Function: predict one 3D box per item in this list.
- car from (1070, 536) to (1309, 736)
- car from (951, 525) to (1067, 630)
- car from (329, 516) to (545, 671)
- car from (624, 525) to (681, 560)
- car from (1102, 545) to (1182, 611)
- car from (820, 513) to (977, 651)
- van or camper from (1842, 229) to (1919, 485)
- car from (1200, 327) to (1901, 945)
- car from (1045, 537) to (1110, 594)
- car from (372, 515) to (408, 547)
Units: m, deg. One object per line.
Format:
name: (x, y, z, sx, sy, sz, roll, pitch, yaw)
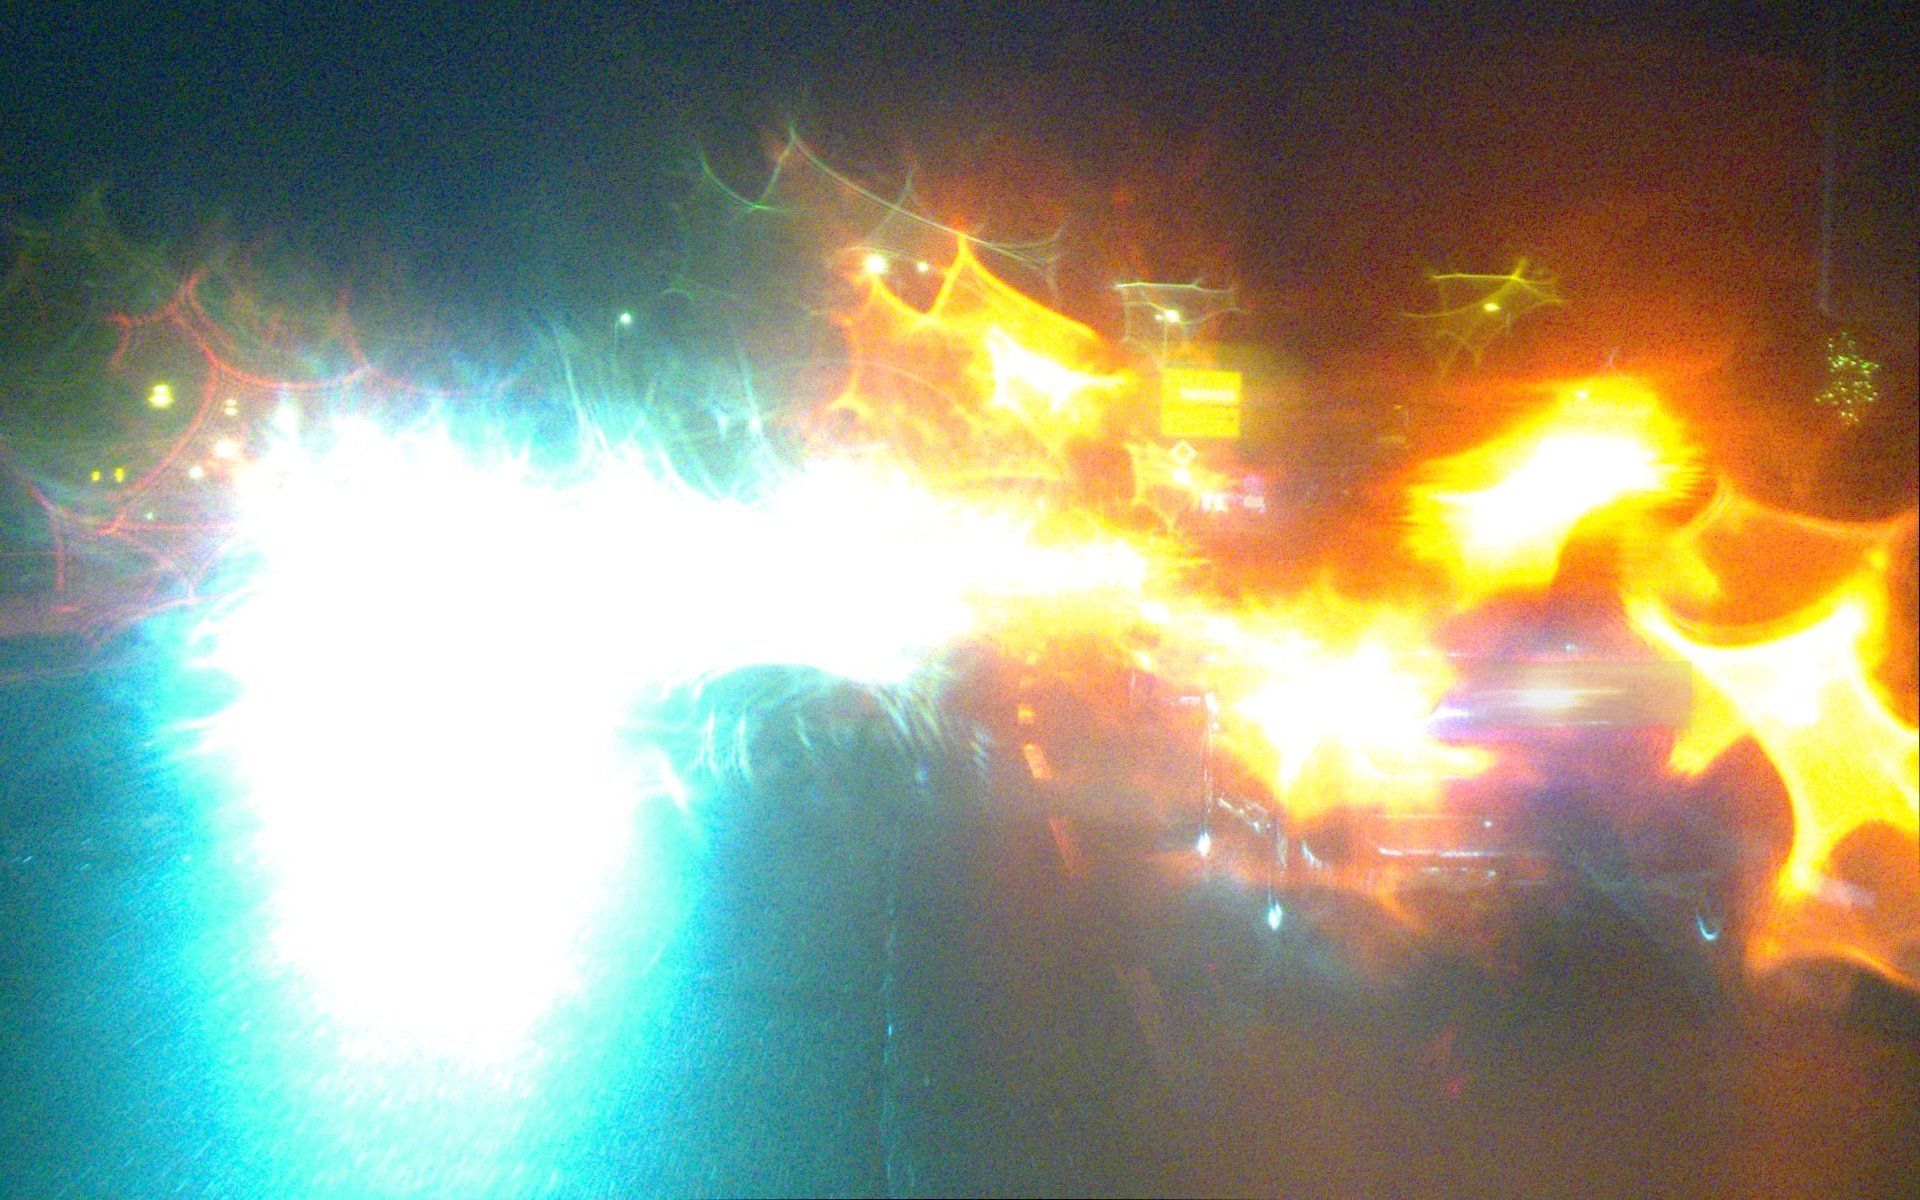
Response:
car: (1.825, 0.233, 27.867, 1.768, 1.445, 4.218, 1, 1, 3)
car: (0.831, -0.393, 56.105, 1.709, 1.632, 3.730, -1, 1, 3)
car: (-5.236, -0.115, 34.871, 1.694, 1.429, 4.294, 1, 2, -2)
car: (-13.774, -2.581, 153.851, 1.708, 1.493, 3.731, -1, 1, -18)
car: (4.098, -0.505, 77.071, 1.663, 1.445, 4.049, 0, 1, 5)
car: (-0.730, -0.242, 43.182, 1.694, 1.624, 3.852, 1, 1, 3)
van or camper: (12.614, -2.760, 38.123, 2.579, 2.898, 6.361, 0, 1, -17)
car: (2.044, 0.062, 13.167, 1.942, 1.965, 4.218, 1, 1, 0)
car: (3.104, -0.909, 90.592, 1.663, 1.445, 4.049, 1, 0, 2)
car: (-34.370, -4.188, 207.461, 1.993, 1.905, 4.744, 0, 1, -8)
